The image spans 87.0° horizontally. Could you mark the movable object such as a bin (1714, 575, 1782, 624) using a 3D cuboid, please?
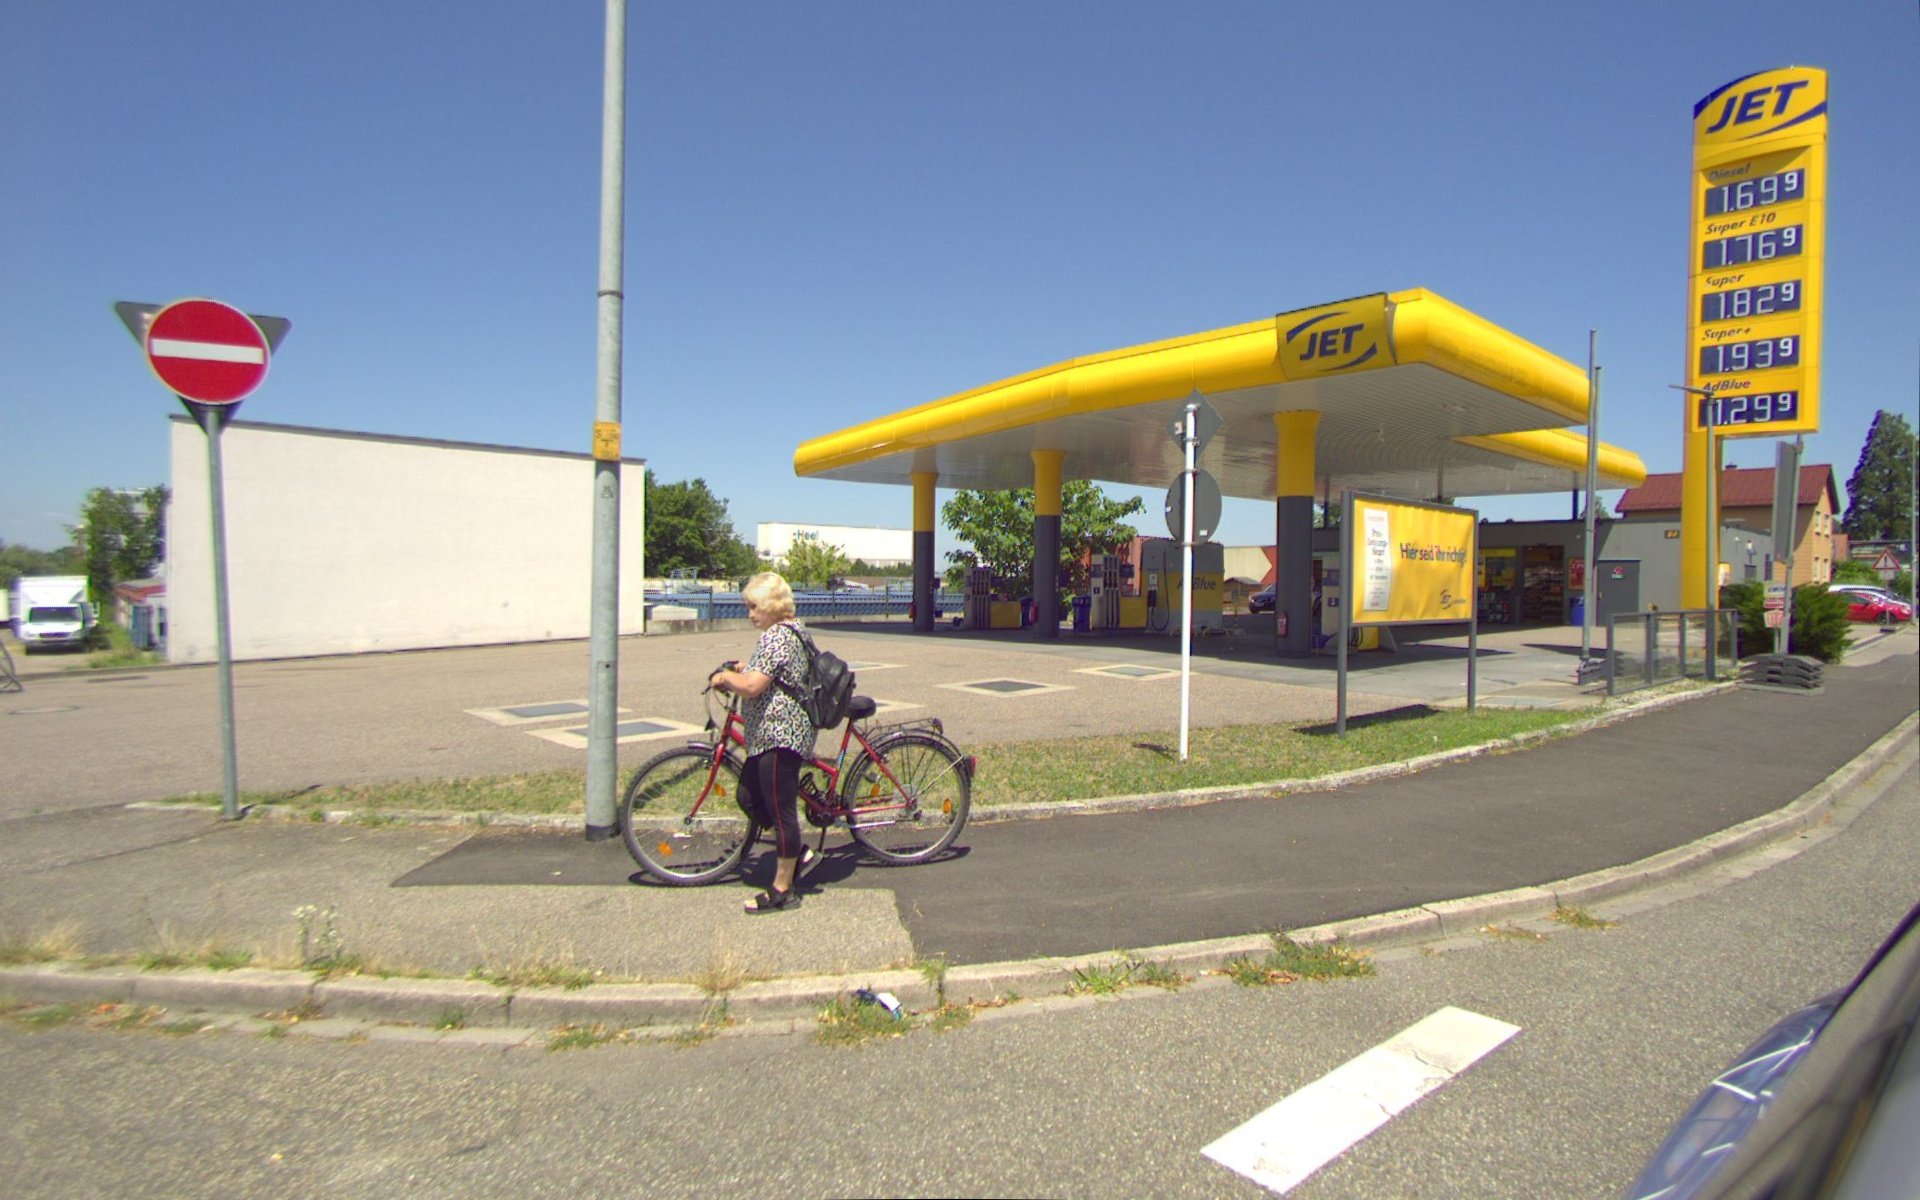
[{"bbox_3d":[24.279,-0.032,31.185,1.443,1.455,1.436,0,2,-43],"label":"movable object such as a bin"}]

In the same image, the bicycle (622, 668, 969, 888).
[{"bbox_3d":[-0.764,0.815,4.825,1.565,0.923,0.380,0,0,-9],"label":"bicycle"}]

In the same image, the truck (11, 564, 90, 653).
[{"bbox_3d":[-42.489,0.358,47.189,2.524,3.767,9.458,-1,0,-43],"label":"truck"}]

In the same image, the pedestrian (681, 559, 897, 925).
[{"bbox_3d":[-0.760,0.553,4.449,0.850,1.439,0.773,0,0,-12],"label":"pedestrian"}]

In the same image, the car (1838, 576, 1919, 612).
[{"bbox_3d":[50.982,-0.340,55.606,4.130,1.963,1.781,1,0,41],"label":"car"}]

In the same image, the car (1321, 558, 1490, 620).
[{"bbox_3d":[15.443,-0.381,35.287,1.966,2.000,5.057,0,1,-42],"label":"car"}]

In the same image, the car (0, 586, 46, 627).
[{"bbox_3d":[-81.898,0.587,85.776,7.466,3.348,3.298,-1,0,18],"label":"car"}]

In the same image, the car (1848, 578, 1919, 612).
[{"bbox_3d":[49.840,-0.262,53.815,3.876,1.701,1.736,2,1,44],"label":"car"}]

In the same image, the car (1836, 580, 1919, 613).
[{"bbox_3d":[46.624,-0.193,50.994,3.686,1.586,1.615,2,1,45],"label":"car"}]

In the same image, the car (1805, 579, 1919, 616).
[{"bbox_3d":[41.530,-0.128,46.300,1.926,1.554,4.228,0,1,-44],"label":"car"}]

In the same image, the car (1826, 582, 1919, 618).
[{"bbox_3d":[43.424,-0.027,47.828,3.684,1.586,1.682,2,1,43],"label":"car"}]
